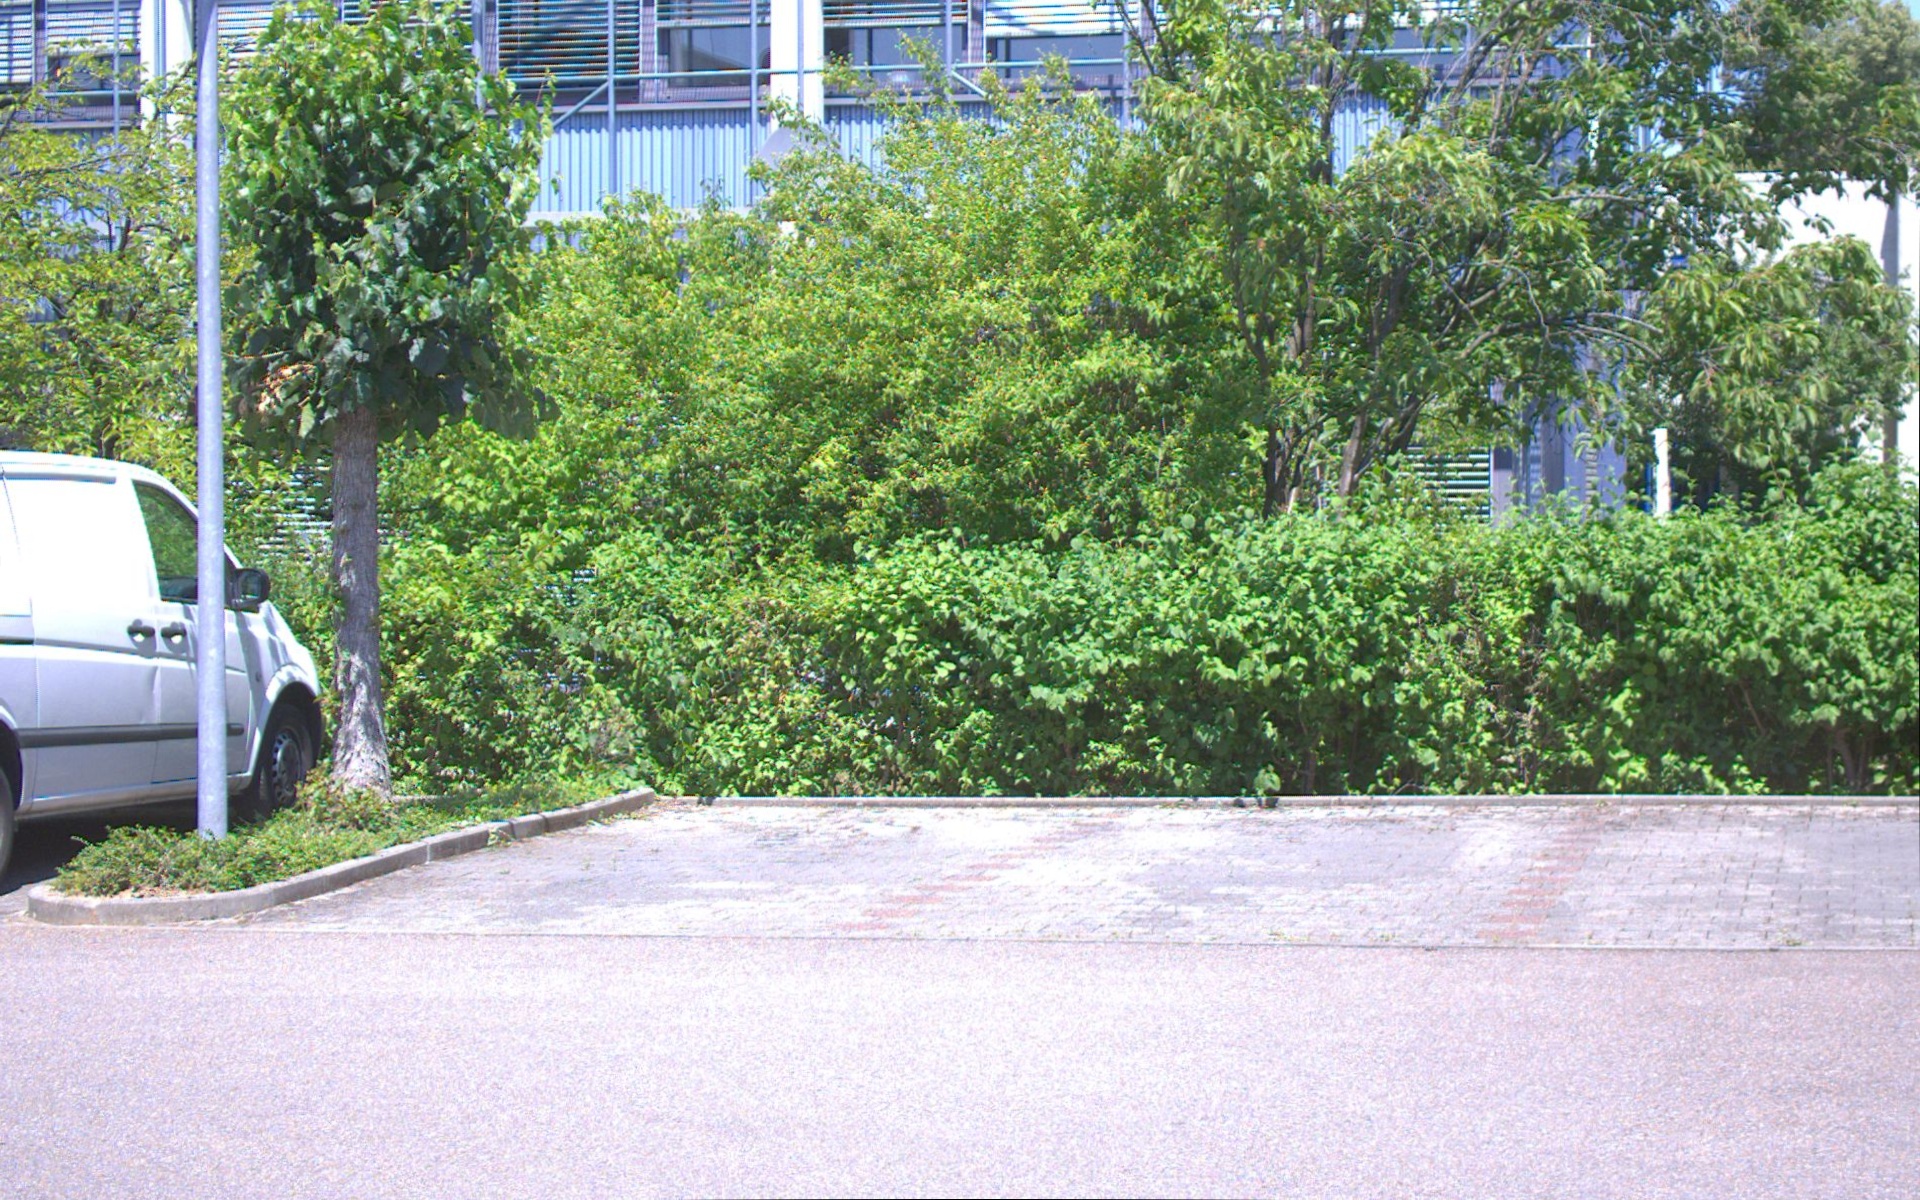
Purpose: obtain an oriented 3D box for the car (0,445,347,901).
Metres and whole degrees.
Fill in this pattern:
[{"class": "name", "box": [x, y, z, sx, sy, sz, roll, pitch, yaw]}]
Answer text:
[{"class": "car", "box": [-4.680, 0.274, 15.766, 1.914, 1.898, 4.806, -1, 2, 13]}]
